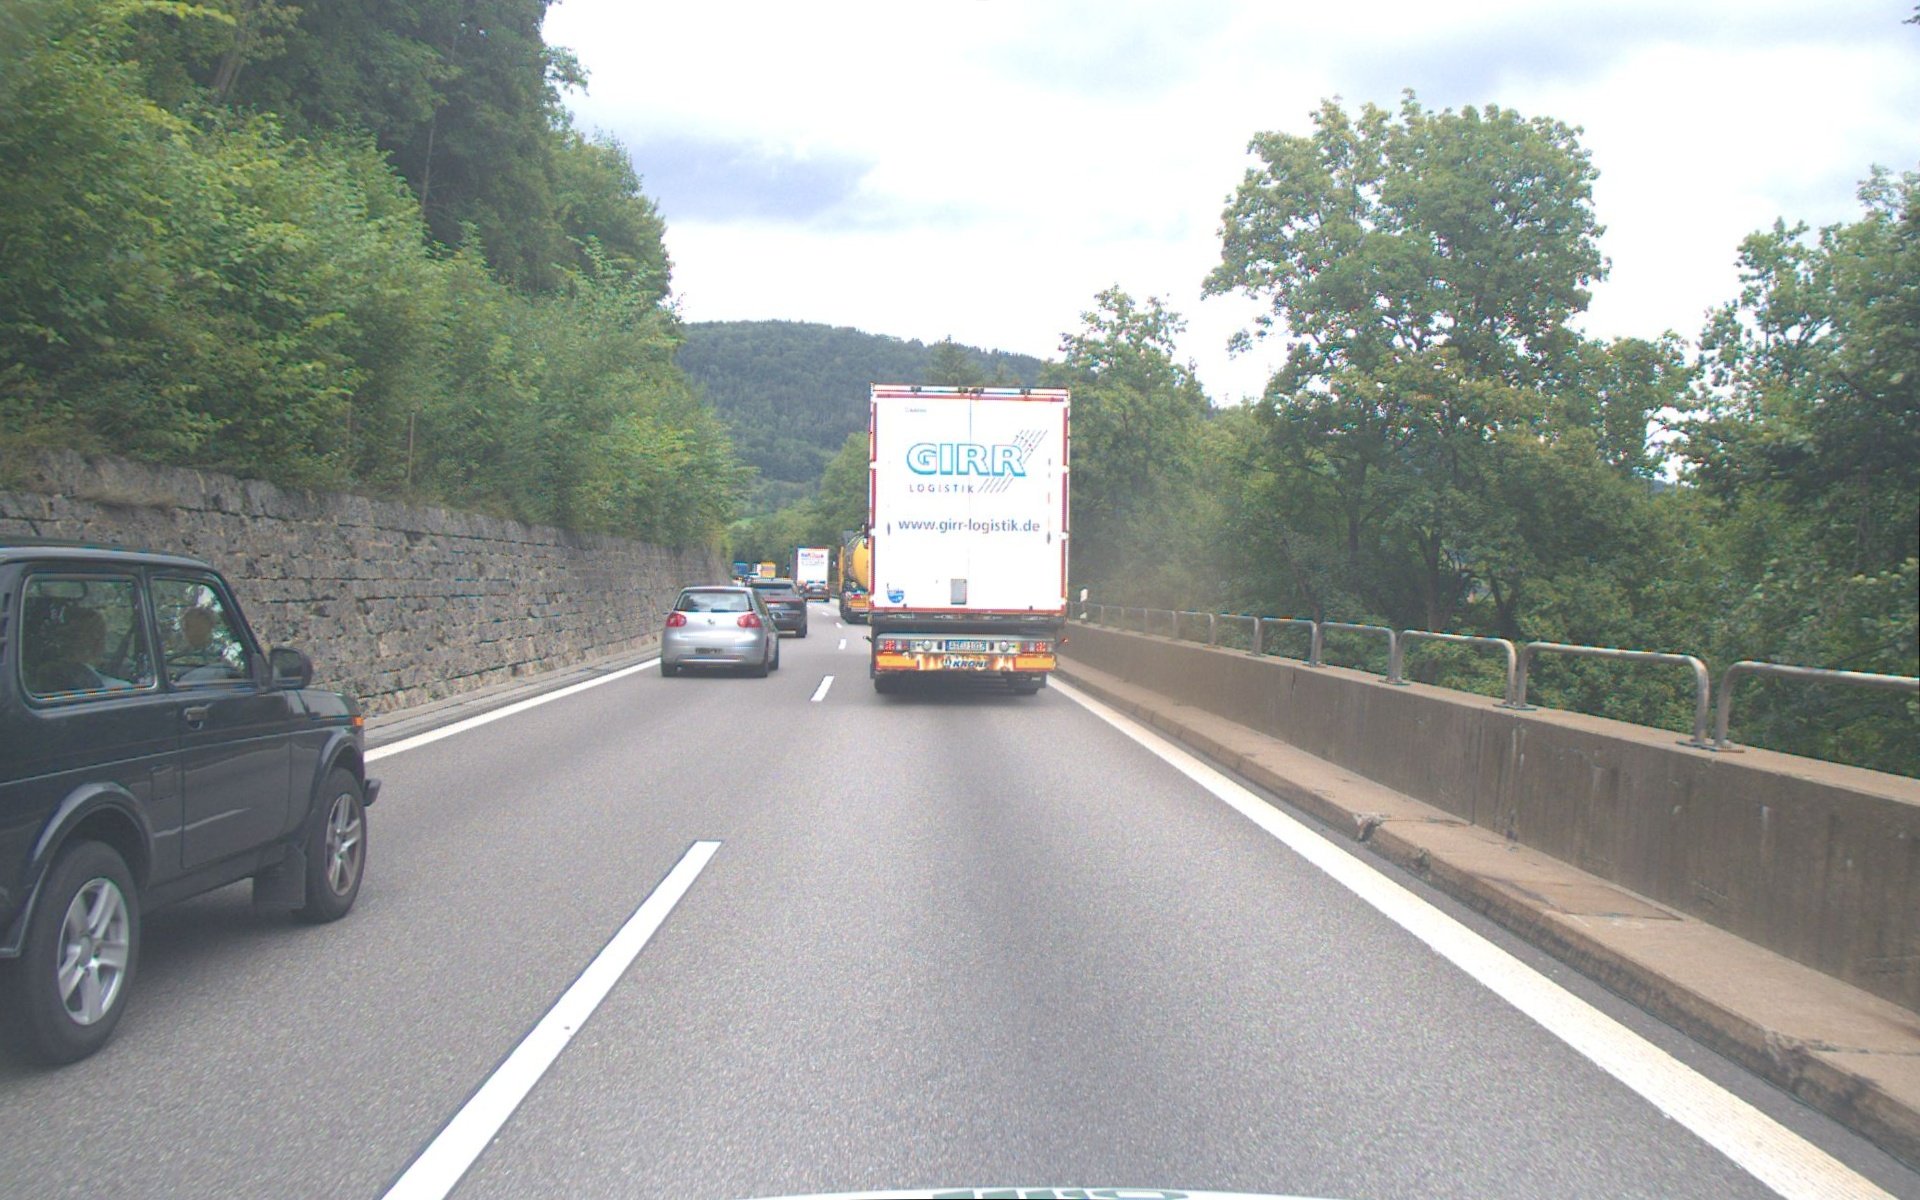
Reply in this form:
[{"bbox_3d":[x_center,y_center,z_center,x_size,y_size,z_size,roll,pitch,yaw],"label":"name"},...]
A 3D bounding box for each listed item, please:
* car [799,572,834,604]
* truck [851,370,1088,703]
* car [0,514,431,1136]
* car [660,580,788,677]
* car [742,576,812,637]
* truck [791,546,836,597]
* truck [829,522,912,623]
[{"bbox_3d":[-9.626,-0.788,111.326,1.953,2.049,4.000,1,0,0],"label":"car"},{"bbox_3d":[-0.018,-0.808,24.914,2.850,4.030,9.276,1,0,-2],"label":"truck"},{"bbox_3d":[-3.405,0.588,6.084,1.635,1.667,4.067,1,0,-1],"label":"car"},{"bbox_3d":[-3.924,0.443,28.060,1.694,1.512,3.999,1,0,-2],"label":"car"},{"bbox_3d":[-5.147,0.177,46.830,1.880,1.622,4.174,1,0,-6],"label":"car"},{"bbox_3d":[-12.112,-2.273,136.446,3.443,3.914,11.762,1,0,-5],"label":"truck"},{"bbox_3d":[-3.639,-1.020,64.914,2.439,3.634,9.292,1,0,-8],"label":"truck"}]
